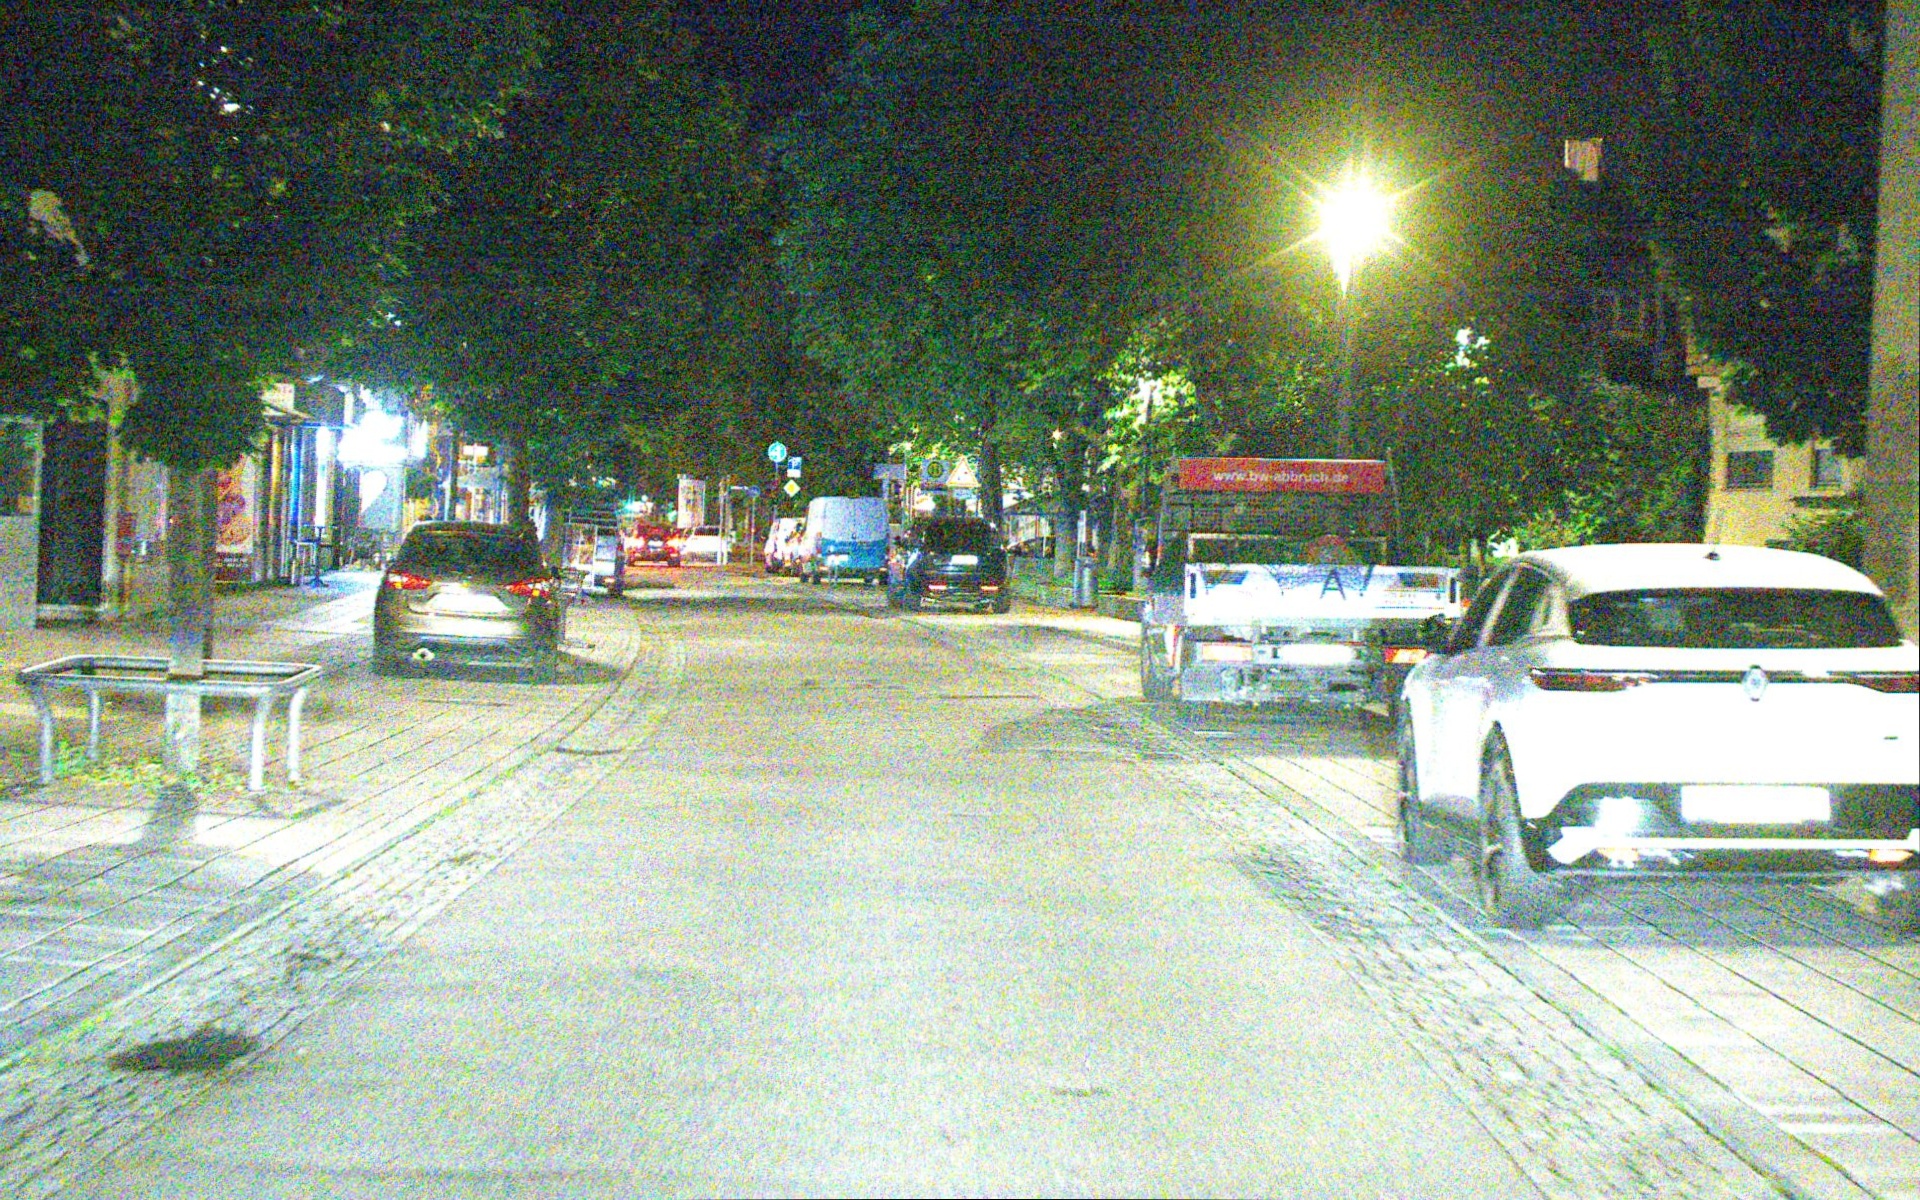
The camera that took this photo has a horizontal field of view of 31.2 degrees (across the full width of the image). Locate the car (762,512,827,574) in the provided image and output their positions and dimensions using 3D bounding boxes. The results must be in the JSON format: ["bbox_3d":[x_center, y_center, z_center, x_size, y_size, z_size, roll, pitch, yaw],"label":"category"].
[{"bbox_3d":[-5.306,-1.837,109.952,1.839,1.894,3.846,2,1,-6],"label":"car"}]

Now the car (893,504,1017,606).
[{"bbox_3d":[-0.133,-0.871,65.380,1.814,1.822,4.348,2,1,-7],"label":"car"}]

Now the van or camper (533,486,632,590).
[{"bbox_3d":[-7.925,-1.309,71.958,1.866,2.004,4.263,3,1,-7],"label":"van or camper"}]

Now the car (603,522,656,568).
[{"bbox_3d":[-12.892,-2.164,134.117,1.993,1.697,4.001,2,1,-6],"label":"car"}]

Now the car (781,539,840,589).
[{"bbox_3d":[-4.541,-1.102,103.984,1.531,1.413,3.846,2,1,-6],"label":"car"}]

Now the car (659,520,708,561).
[{"bbox_3d":[-11.055,-2.378,137.460,1.839,1.537,3.846,2,1,-6],"label":"car"}]

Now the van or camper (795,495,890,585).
[{"bbox_3d":[-3.156,-1.617,91.412,2.108,2.309,4.263,1,1,-7],"label":"van or camper"}]

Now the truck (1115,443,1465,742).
[{"bbox_3d":[2.739,-0.117,30.069,2.336,2.304,5.781,1,1,-1],"label":"truck"}]

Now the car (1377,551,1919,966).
[{"bbox_3d":[2.911,0.555,14.599,1.789,1.486,4.059,1,1,0],"label":"car"}]

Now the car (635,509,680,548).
[{"bbox_3d":[-14.901,-3.512,169.408,1.993,1.817,4.001,2,1,-7],"label":"car"}]

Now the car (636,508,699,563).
[{"bbox_3d":[-10.248,-2.248,120.280,1.993,1.817,4.001,2,1,-7],"label":"car"}]

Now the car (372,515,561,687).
[{"bbox_3d":[-4.882,-0.034,34.427,1.673,1.538,4.231,3,1,-6],"label":"car"}]
